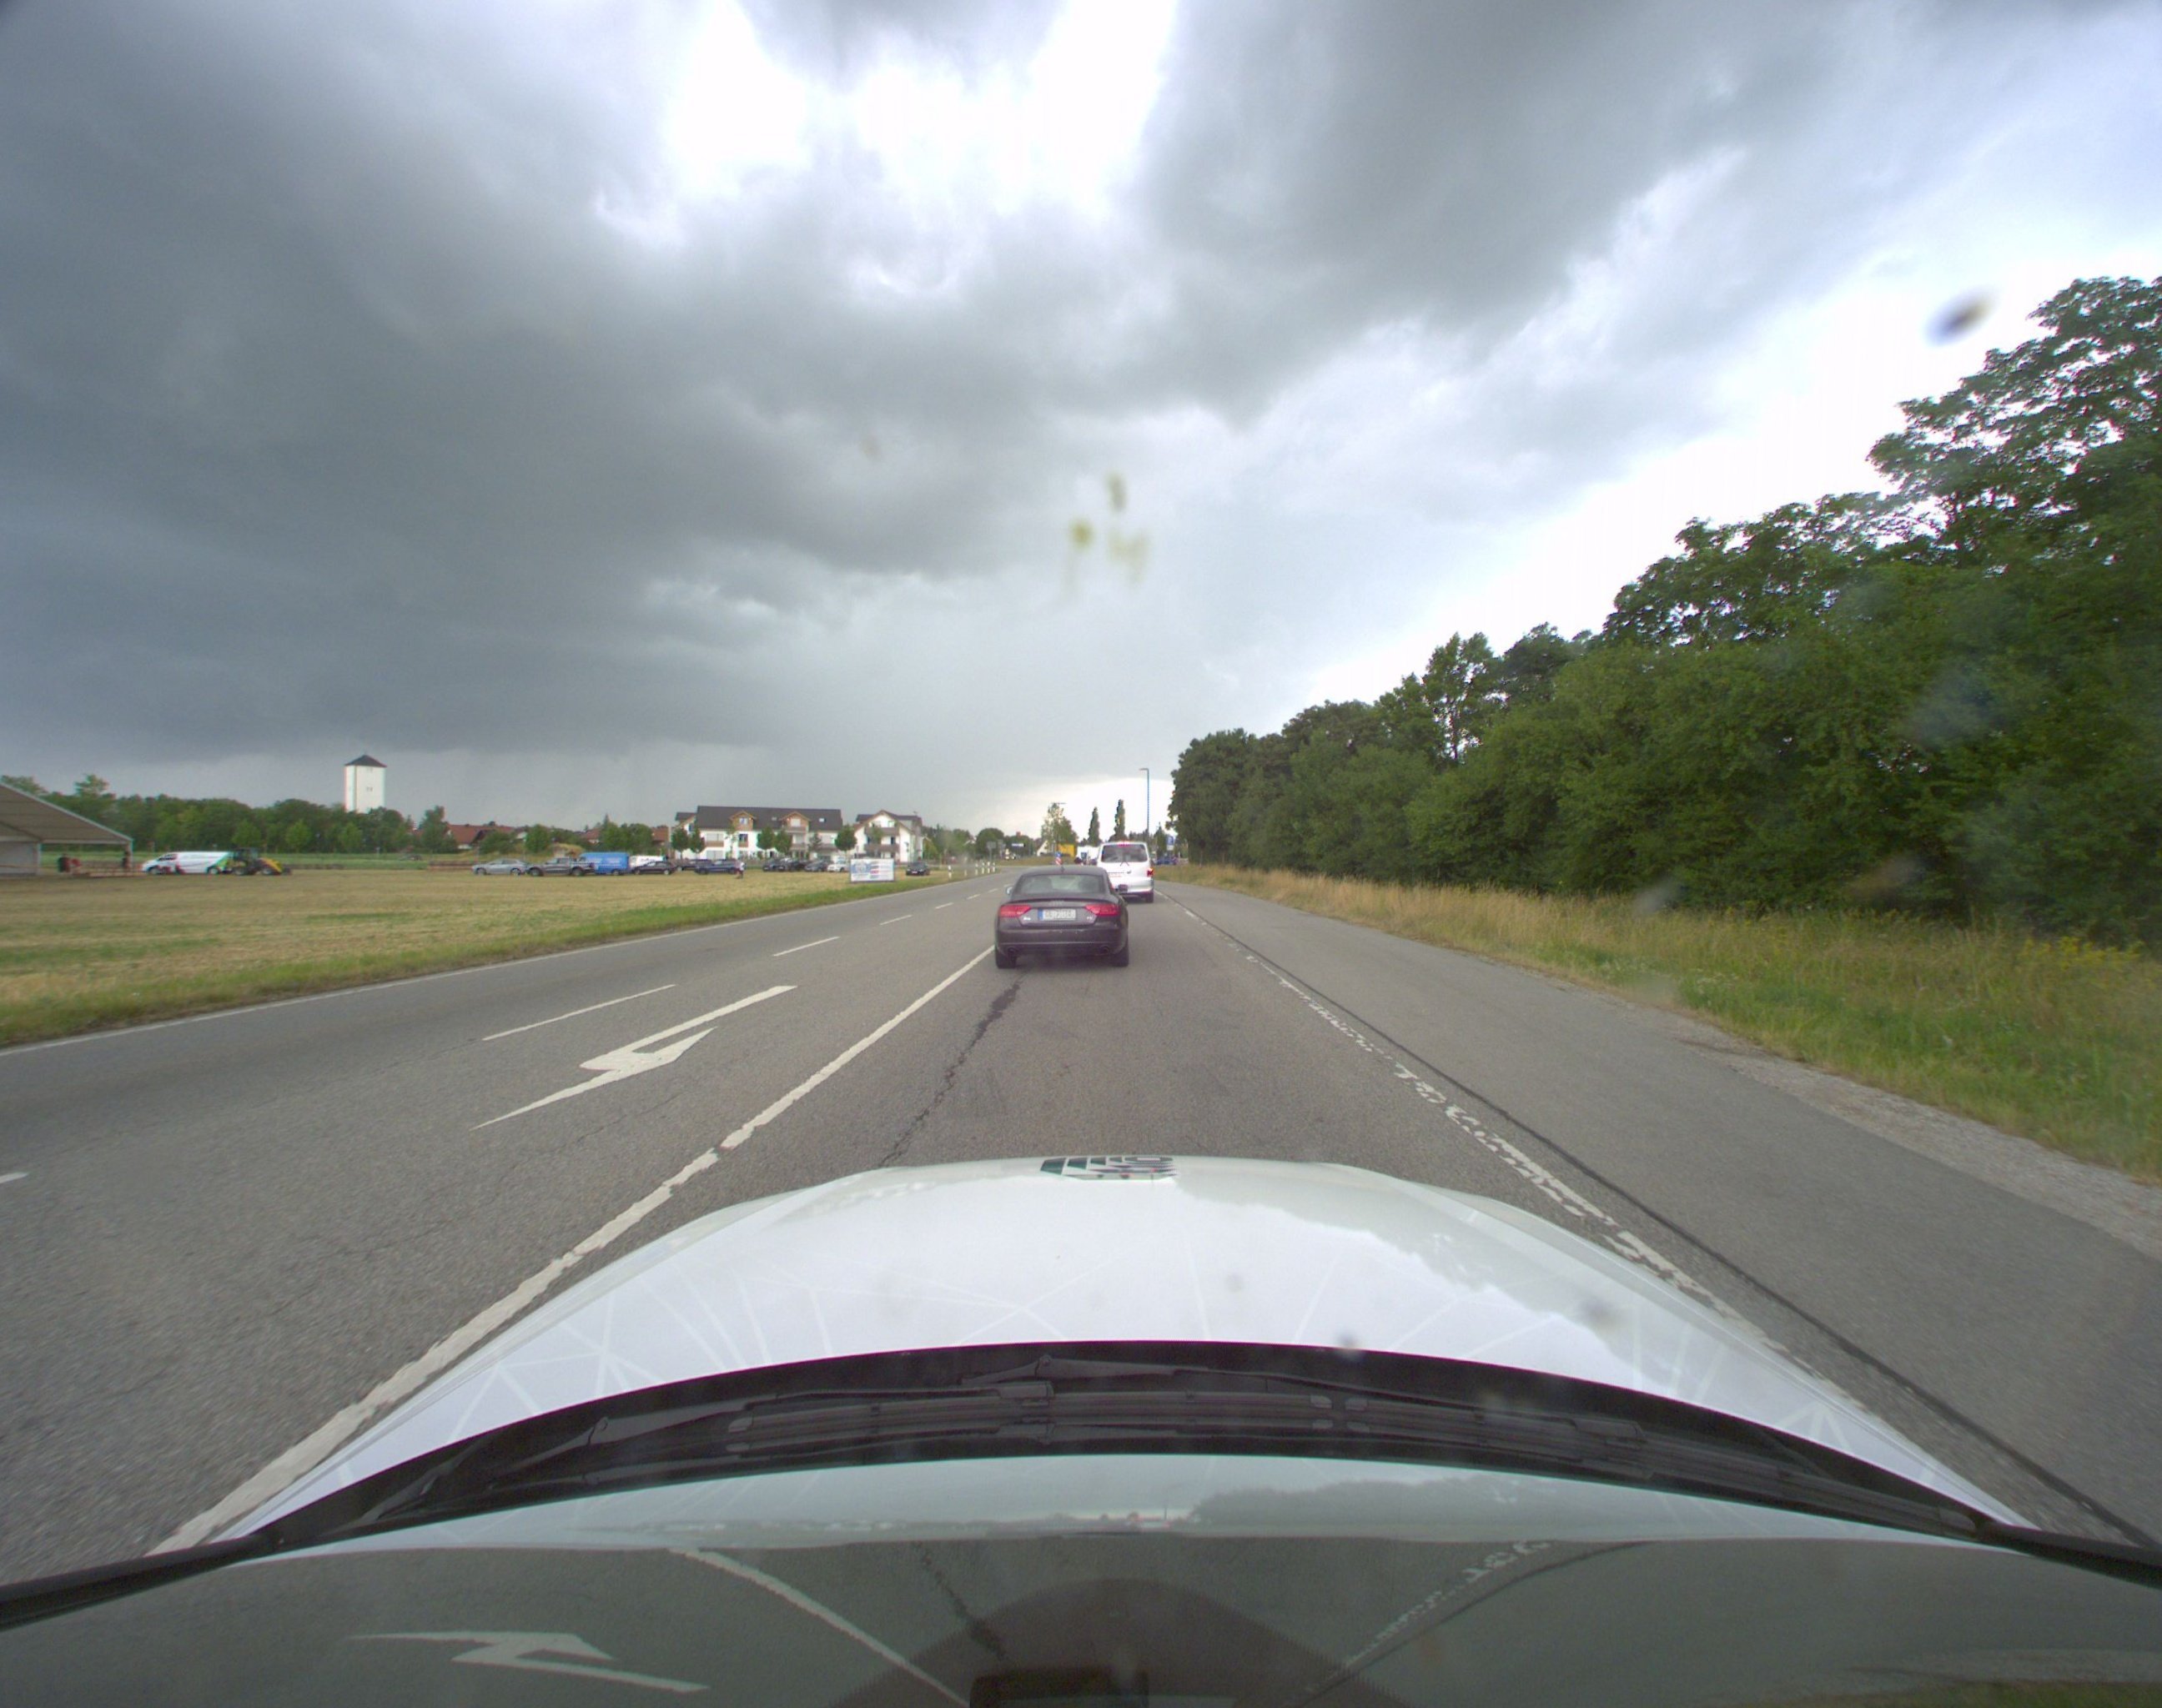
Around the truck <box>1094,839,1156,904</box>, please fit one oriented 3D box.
[{"bbox_3d":[1.473,0.532,27.312,1.896,1.998,4.631,0,0,3],"label":"truck"}]

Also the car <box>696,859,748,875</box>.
[{"bbox_3d":[-37.490,1.351,85.199,4.728,1.697,1.988,0,0,-18],"label":"car"}]

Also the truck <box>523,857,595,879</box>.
[{"bbox_3d":[-47.432,1.222,74.193,5.251,1.921,2.095,0,-1,-24],"label":"truck"}]

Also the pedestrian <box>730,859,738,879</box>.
[{"bbox_3d":[-30.788,1.332,72.285,0.548,1.786,0.676,0,-1,-9],"label":"pedestrian"}]

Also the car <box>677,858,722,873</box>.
[{"bbox_3d":[-45.409,1.337,96.988,4.638,1.697,1.988,0,0,-18],"label":"car"}]

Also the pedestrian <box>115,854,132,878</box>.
[{"bbox_3d":[-72.003,0.898,61.246,0.618,1.866,0.713,0,-1,26],"label":"pedestrian"}]

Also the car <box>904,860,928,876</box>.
[{"bbox_3d":[-15.873,1.347,78.525,1.993,1.442,3.989,0,0,-8],"label":"car"}]

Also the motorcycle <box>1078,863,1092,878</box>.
[{"bbox_3d":[0.316,1.232,60.879,0.916,1.094,2.190,0,0,3],"label":"motorcycle"}]

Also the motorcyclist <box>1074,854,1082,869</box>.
[{"bbox_3d":[-0.279,0.691,74.692,0.783,1.356,0.853,0,0,-1],"label":"motorcyclist"}]

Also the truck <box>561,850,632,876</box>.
[{"bbox_3d":[-46.584,0.839,78.423,5.467,2.446,2.377,0,-1,-21],"label":"truck"}]

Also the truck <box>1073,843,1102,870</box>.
[{"bbox_3d":[0.656,0.231,85.633,2.621,2.737,5.858,1,0,-4],"label":"truck"}]

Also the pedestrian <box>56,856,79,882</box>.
[{"bbox_3d":[-68.852,1.006,55.308,0.690,1.776,0.691,0,-1,-17],"label":"pedestrian"}]

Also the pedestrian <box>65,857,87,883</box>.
[{"bbox_3d":[-71.019,1.128,57.543,0.690,1.776,0.691,0,-1,-17],"label":"pedestrian"}]

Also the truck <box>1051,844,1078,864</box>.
[{"bbox_3d":[-3.132,-0.012,154.326,3.577,3.578,9.920,1,0,-10],"label":"truck"}]

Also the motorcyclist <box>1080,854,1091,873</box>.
[{"bbox_3d":[0.308,0.693,60.809,0.769,1.383,0.821,0,-1,3],"label":"motorcyclist"}]

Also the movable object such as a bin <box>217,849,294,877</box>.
[{"bbox_3d":[-67.928,0.723,67.091,4.005,2.243,1.870,0,-1,-26],"label":"movable object such as a bin"}]

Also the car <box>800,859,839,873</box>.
[{"bbox_3d":[-29.526,1.326,92.160,1.976,1.536,4.233,0,0,21],"label":"car"}]

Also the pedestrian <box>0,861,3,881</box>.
[{"bbox_3d":[-70.319,1.117,52.500,0.688,1.271,0.693,0,-1,-9],"label":"pedestrian"}]

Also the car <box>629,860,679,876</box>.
[{"bbox_3d":[-43.512,1.399,83.026,4.166,1.519,1.988,0,0,-18],"label":"car"}]

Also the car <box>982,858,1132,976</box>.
[{"bbox_3d":[-0.211,0.801,12.308,1.867,1.454,4.179,-1,0,2],"label":"car"}]

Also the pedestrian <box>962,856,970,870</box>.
[{"bbox_3d":[-13.430,1.013,95.026,0.695,1.586,0.661,0,-1,19],"label":"pedestrian"}]

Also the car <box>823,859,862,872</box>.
[{"bbox_3d":[-26.792,1.296,91.655,1.976,1.446,4.233,0,0,21],"label":"car"}]

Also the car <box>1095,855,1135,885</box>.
[{"bbox_3d":[1.757,0.815,42.343,1.986,1.485,4.002,0,0,2],"label":"car"}]

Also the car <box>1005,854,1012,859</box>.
[{"bbox_3d":[-22.629,0.758,254.891,1.988,1.642,3.997,1,0,-2],"label":"car"}]

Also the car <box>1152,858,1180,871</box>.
[{"bbox_3d":[13.357,1.691,128.423,3.952,2.014,2.011,0,-1,22],"label":"car"}]

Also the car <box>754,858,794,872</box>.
[{"bbox_3d":[-35.714,1.250,94.854,1.976,1.629,4.233,0,0,21],"label":"car"}]

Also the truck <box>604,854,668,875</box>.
[{"bbox_3d":[-46.892,1.078,85.981,5.584,2.196,2.589,0,0,-21],"label":"truck"}]

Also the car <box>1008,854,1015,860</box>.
[{"bbox_3d":[-21.095,0.911,247.050,1.990,2.014,3.993,1,0,-5],"label":"car"}]

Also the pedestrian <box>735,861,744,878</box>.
[{"bbox_3d":[-30.682,1.405,73.169,0.591,1.555,0.622,0,-1,-17],"label":"pedestrian"}]

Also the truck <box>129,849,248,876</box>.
[{"bbox_3d":[-74.428,0.677,68.058,6.074,2.217,2.698,0,0,-25],"label":"truck"}]

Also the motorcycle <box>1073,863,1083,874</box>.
[{"bbox_3d":[-0.276,1.298,74.551,0.941,1.019,2.283,0,0,0],"label":"motorcycle"}]

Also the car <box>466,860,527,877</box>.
[{"bbox_3d":[-54.254,1.336,75.695,4.314,1.461,1.876,0,0,-24],"label":"car"}]

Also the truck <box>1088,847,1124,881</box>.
[{"bbox_3d":[1.613,0.620,51.285,2.185,2.014,5.088,0,0,3],"label":"truck"}]

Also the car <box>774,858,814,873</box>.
[{"bbox_3d":[-32.654,1.257,92.722,1.976,1.629,4.233,0,0,21],"label":"car"}]
